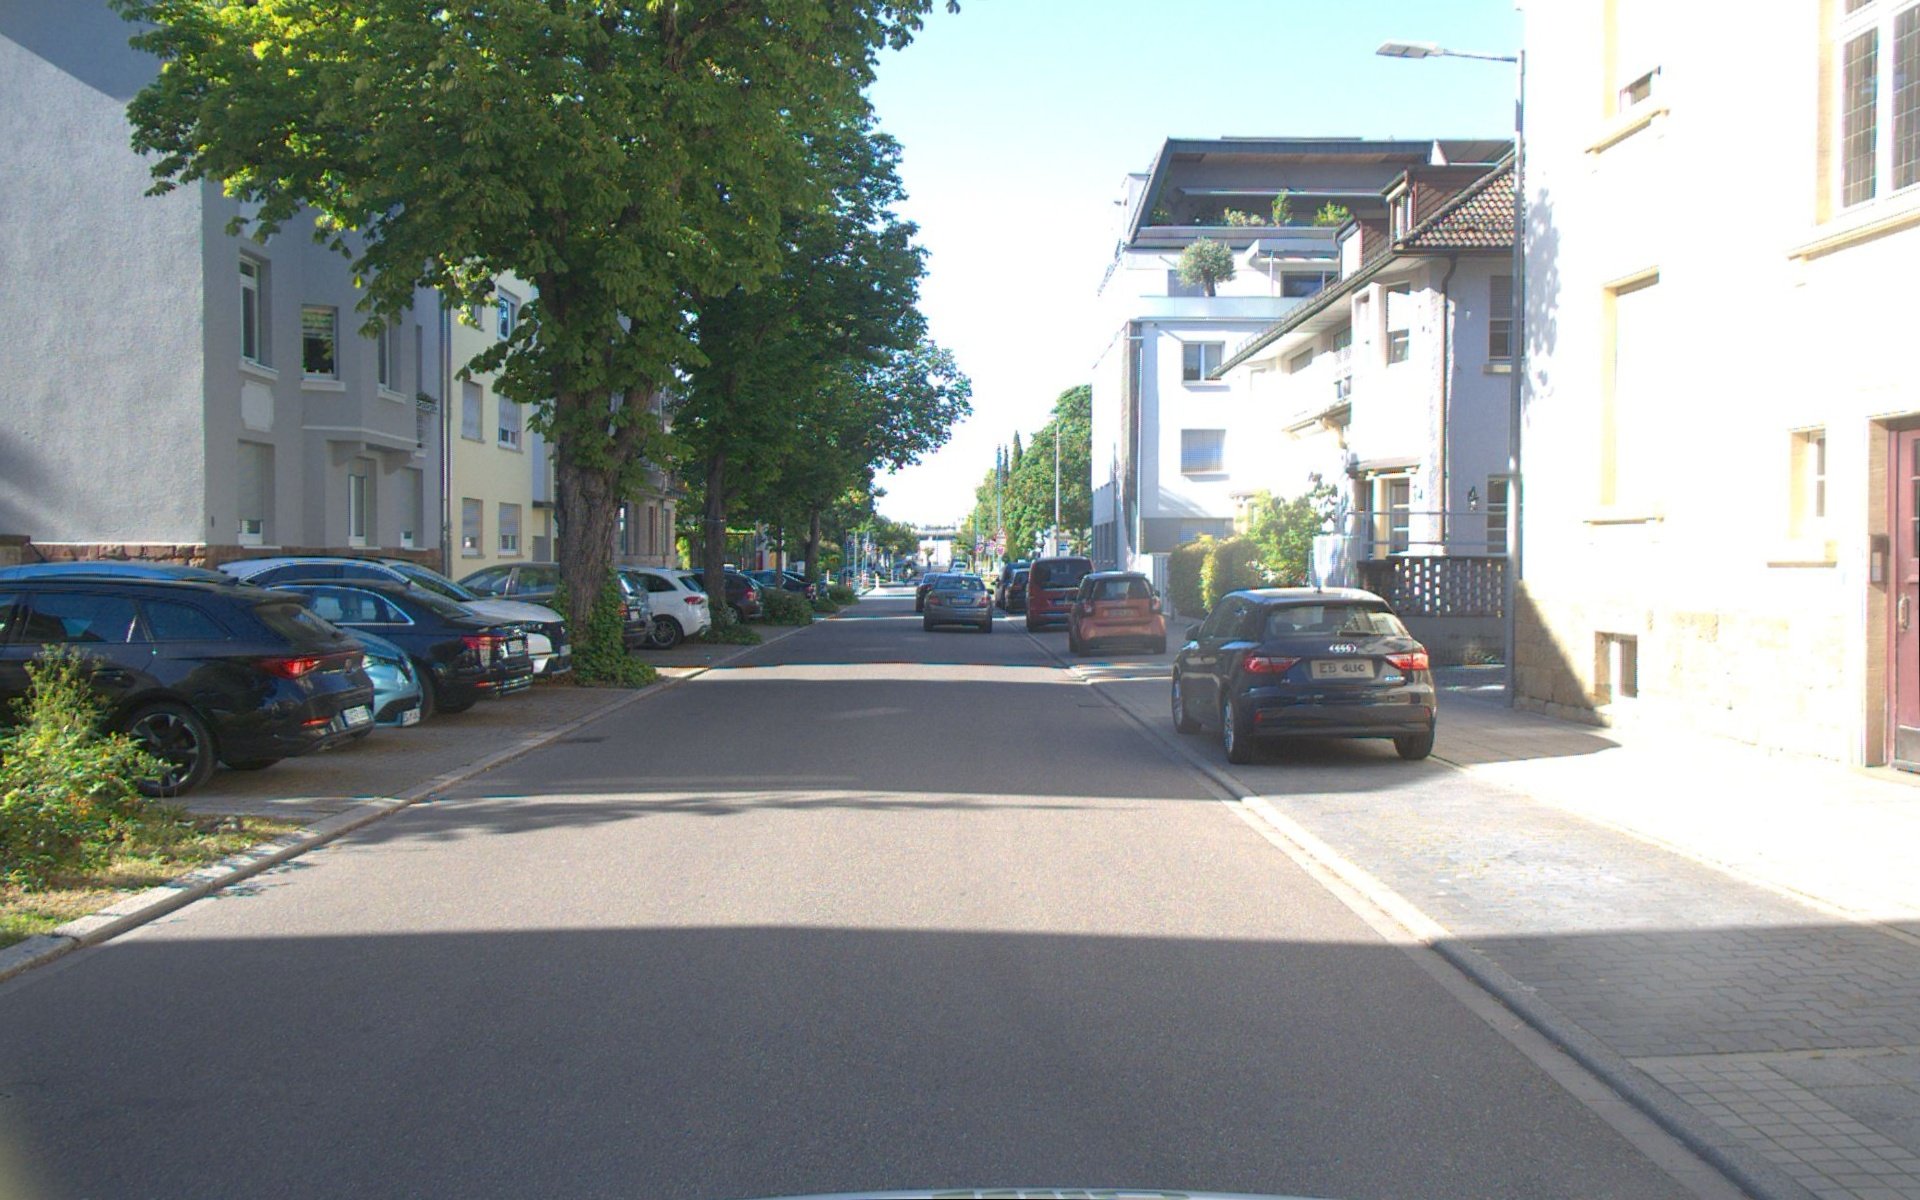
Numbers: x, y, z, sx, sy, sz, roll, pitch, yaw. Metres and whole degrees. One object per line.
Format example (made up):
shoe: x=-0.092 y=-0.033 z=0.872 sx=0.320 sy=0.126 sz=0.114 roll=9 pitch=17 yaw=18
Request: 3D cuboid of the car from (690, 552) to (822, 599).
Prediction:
car: x=-7.023 y=-0.857 z=57.371 sx=4.384 sy=1.504 sz=1.868 roll=1 pitch=1 yaw=-3

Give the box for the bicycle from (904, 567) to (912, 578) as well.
bicycle: x=-4.302 y=-2.279 z=136.964 sx=0.577 sy=0.947 sz=1.850 roll=0 pitch=2 yaw=1

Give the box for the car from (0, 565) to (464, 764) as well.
car: x=-6.650 y=0.514 z=14.714 sx=3.907 sy=1.620 sz=1.878 roll=0 pitch=2 yaw=-3

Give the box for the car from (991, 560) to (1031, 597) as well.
car: x=2.155 y=-0.918 z=70.877 sx=1.532 sy=1.435 sz=3.730 roll=-4 pitch=1 yaw=0

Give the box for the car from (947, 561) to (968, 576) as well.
car: x=-0.265 y=-2.956 z=155.765 sx=1.689 sy=1.353 sz=3.996 roll=0 pitch=1 yaw=-5

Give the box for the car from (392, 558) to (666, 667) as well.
car: x=-6.966 y=0.174 z=27.023 sx=3.904 sy=1.602 sz=1.981 roll=2 pitch=2 yaw=2

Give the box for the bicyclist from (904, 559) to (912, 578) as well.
bicyclist: x=-4.291 y=-2.584 z=136.906 sx=0.666 sy=1.535 sz=0.655 roll=0 pitch=2 yaw=1

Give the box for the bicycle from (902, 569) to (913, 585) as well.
bicycle: x=-3.715 y=-1.632 z=116.210 sx=0.705 sy=1.098 sz=1.891 roll=0 pitch=1 yaw=0

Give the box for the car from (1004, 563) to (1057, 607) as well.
car: x=2.556 y=-0.562 z=60.762 sx=1.701 sy=1.558 sz=4.178 roll=0 pitch=1 yaw=-1

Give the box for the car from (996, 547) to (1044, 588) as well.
car: x=2.382 y=-1.284 z=66.688 sx=1.648 sy=1.459 sz=4.265 roll=-4 pitch=1 yaw=-1

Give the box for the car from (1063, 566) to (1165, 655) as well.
car: x=2.898 y=0.158 z=31.626 sx=1.560 sy=1.506 sz=3.247 roll=-2 pitch=2 yaw=-1

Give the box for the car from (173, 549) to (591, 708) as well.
car: x=-6.799 y=0.299 z=19.811 sx=4.296 sy=1.680 sz=1.824 roll=-1 pitch=3 yaw=0

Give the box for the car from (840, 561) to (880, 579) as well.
car: x=-8.938 y=-2.661 z=147.802 sx=3.427 sy=1.560 sz=1.642 roll=0 pitch=1 yaw=-8

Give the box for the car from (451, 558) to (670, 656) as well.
car: x=-7.115 y=0.105 z=29.677 sx=3.442 sy=1.602 sz=1.771 roll=2 pitch=2 yaw=2

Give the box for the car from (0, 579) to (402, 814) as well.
car: x=-6.407 y=0.635 z=11.949 sx=4.102 sy=1.524 sz=1.861 roll=0 pitch=2 yaw=-2

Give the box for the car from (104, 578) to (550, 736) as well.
car: x=-6.392 y=0.545 z=17.018 sx=3.906 sy=1.494 sz=1.697 roll=0 pitch=2 yaw=-2

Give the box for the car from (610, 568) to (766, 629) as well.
car: x=-7.299 y=-0.051 z=44.621 sx=3.906 sy=1.446 sz=1.771 roll=1 pitch=3 yaw=-2

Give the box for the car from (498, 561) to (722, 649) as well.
car: x=-6.730 y=0.067 z=32.133 sx=3.941 sy=1.510 sz=1.807 roll=2 pitch=2 yaw=-2

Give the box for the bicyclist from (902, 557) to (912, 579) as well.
bicyclist: x=-3.710 y=-2.267 z=116.180 sx=0.706 sy=1.563 sz=1.137 roll=0 pitch=1 yaw=-1

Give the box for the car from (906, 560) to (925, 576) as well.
car: x=-4.776 y=-3.378 z=176.636 sx=1.752 sy=1.559 sz=3.996 roll=-4 pitch=1 yaw=-5

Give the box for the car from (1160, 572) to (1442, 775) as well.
car: x=2.952 y=0.549 z=15.112 sx=1.587 sy=1.464 sz=3.934 roll=-3 pitch=2 yaw=-2

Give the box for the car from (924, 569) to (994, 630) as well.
car: x=-0.014 y=-0.037 z=43.091 sx=1.691 sy=1.444 sz=3.960 roll=2 pitch=1 yaw=0

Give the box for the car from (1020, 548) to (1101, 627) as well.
car: x=2.615 y=-0.363 z=44.127 sx=1.833 sy=1.938 sz=5.198 roll=-1 pitch=1 yaw=0

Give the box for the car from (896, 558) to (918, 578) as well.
car: x=-4.935 y=-2.947 z=153.359 sx=1.836 sy=1.758 sz=3.997 roll=0 pitch=2 yaw=-5

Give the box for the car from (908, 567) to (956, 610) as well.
car: x=-1.049 y=-0.451 z=60.831 sx=1.672 sy=1.473 sz=4.202 roll=2 pitch=1 yaw=-1
